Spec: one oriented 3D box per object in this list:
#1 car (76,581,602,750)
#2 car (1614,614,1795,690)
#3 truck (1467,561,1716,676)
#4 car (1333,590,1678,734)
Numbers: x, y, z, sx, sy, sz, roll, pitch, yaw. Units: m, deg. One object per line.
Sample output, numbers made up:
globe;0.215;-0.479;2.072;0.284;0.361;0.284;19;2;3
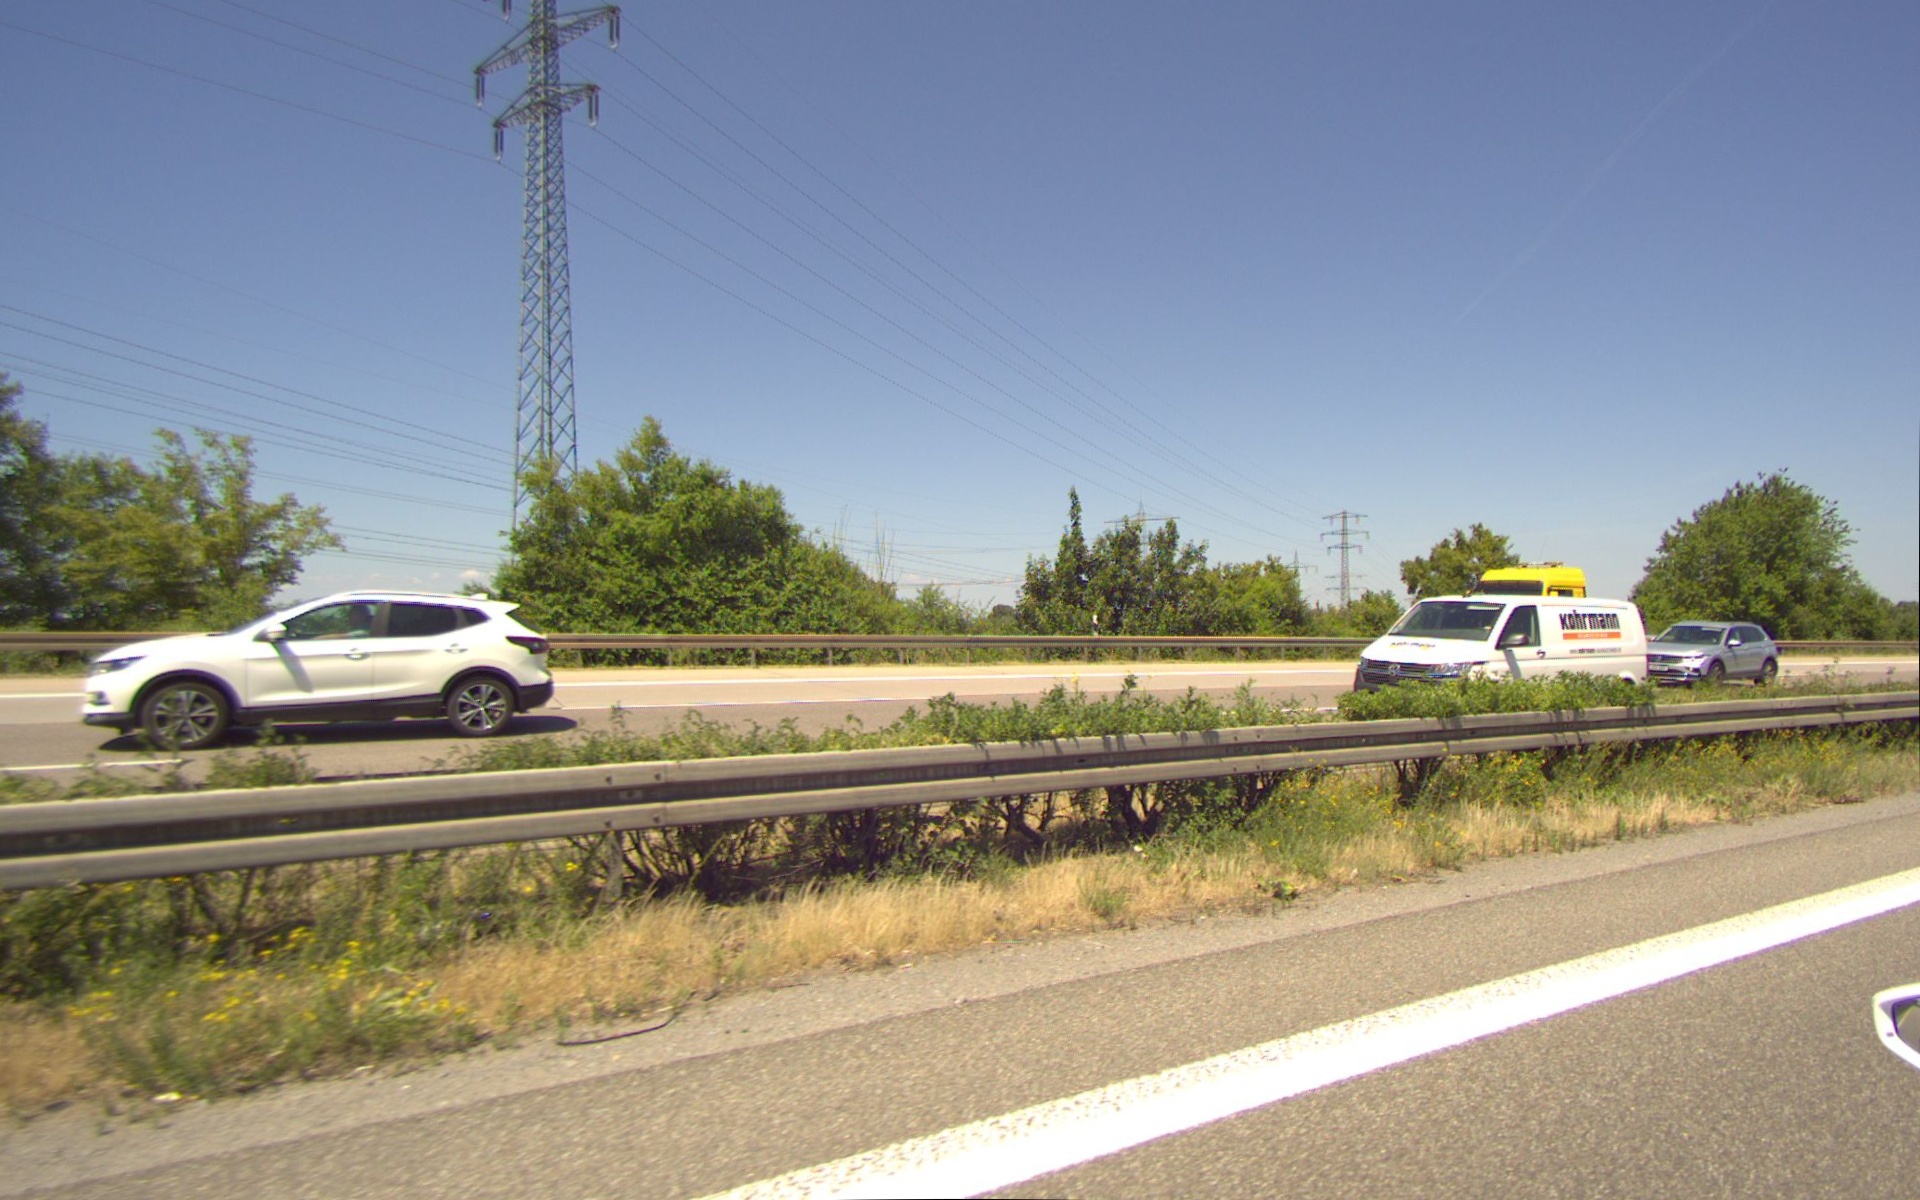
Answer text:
car;-6.697;0.659;11.412;4.672;1.569;1.984;1;0;-31
car;19.075;1.283;25.703;4.757;1.759;1.984;1;0;-30
truck;19.901;0.609;31.383;9.555;3.194;2.509;1;0;-31
car;8.515;0.881;15.517;5.653;1.907;1.985;1;0;-30
